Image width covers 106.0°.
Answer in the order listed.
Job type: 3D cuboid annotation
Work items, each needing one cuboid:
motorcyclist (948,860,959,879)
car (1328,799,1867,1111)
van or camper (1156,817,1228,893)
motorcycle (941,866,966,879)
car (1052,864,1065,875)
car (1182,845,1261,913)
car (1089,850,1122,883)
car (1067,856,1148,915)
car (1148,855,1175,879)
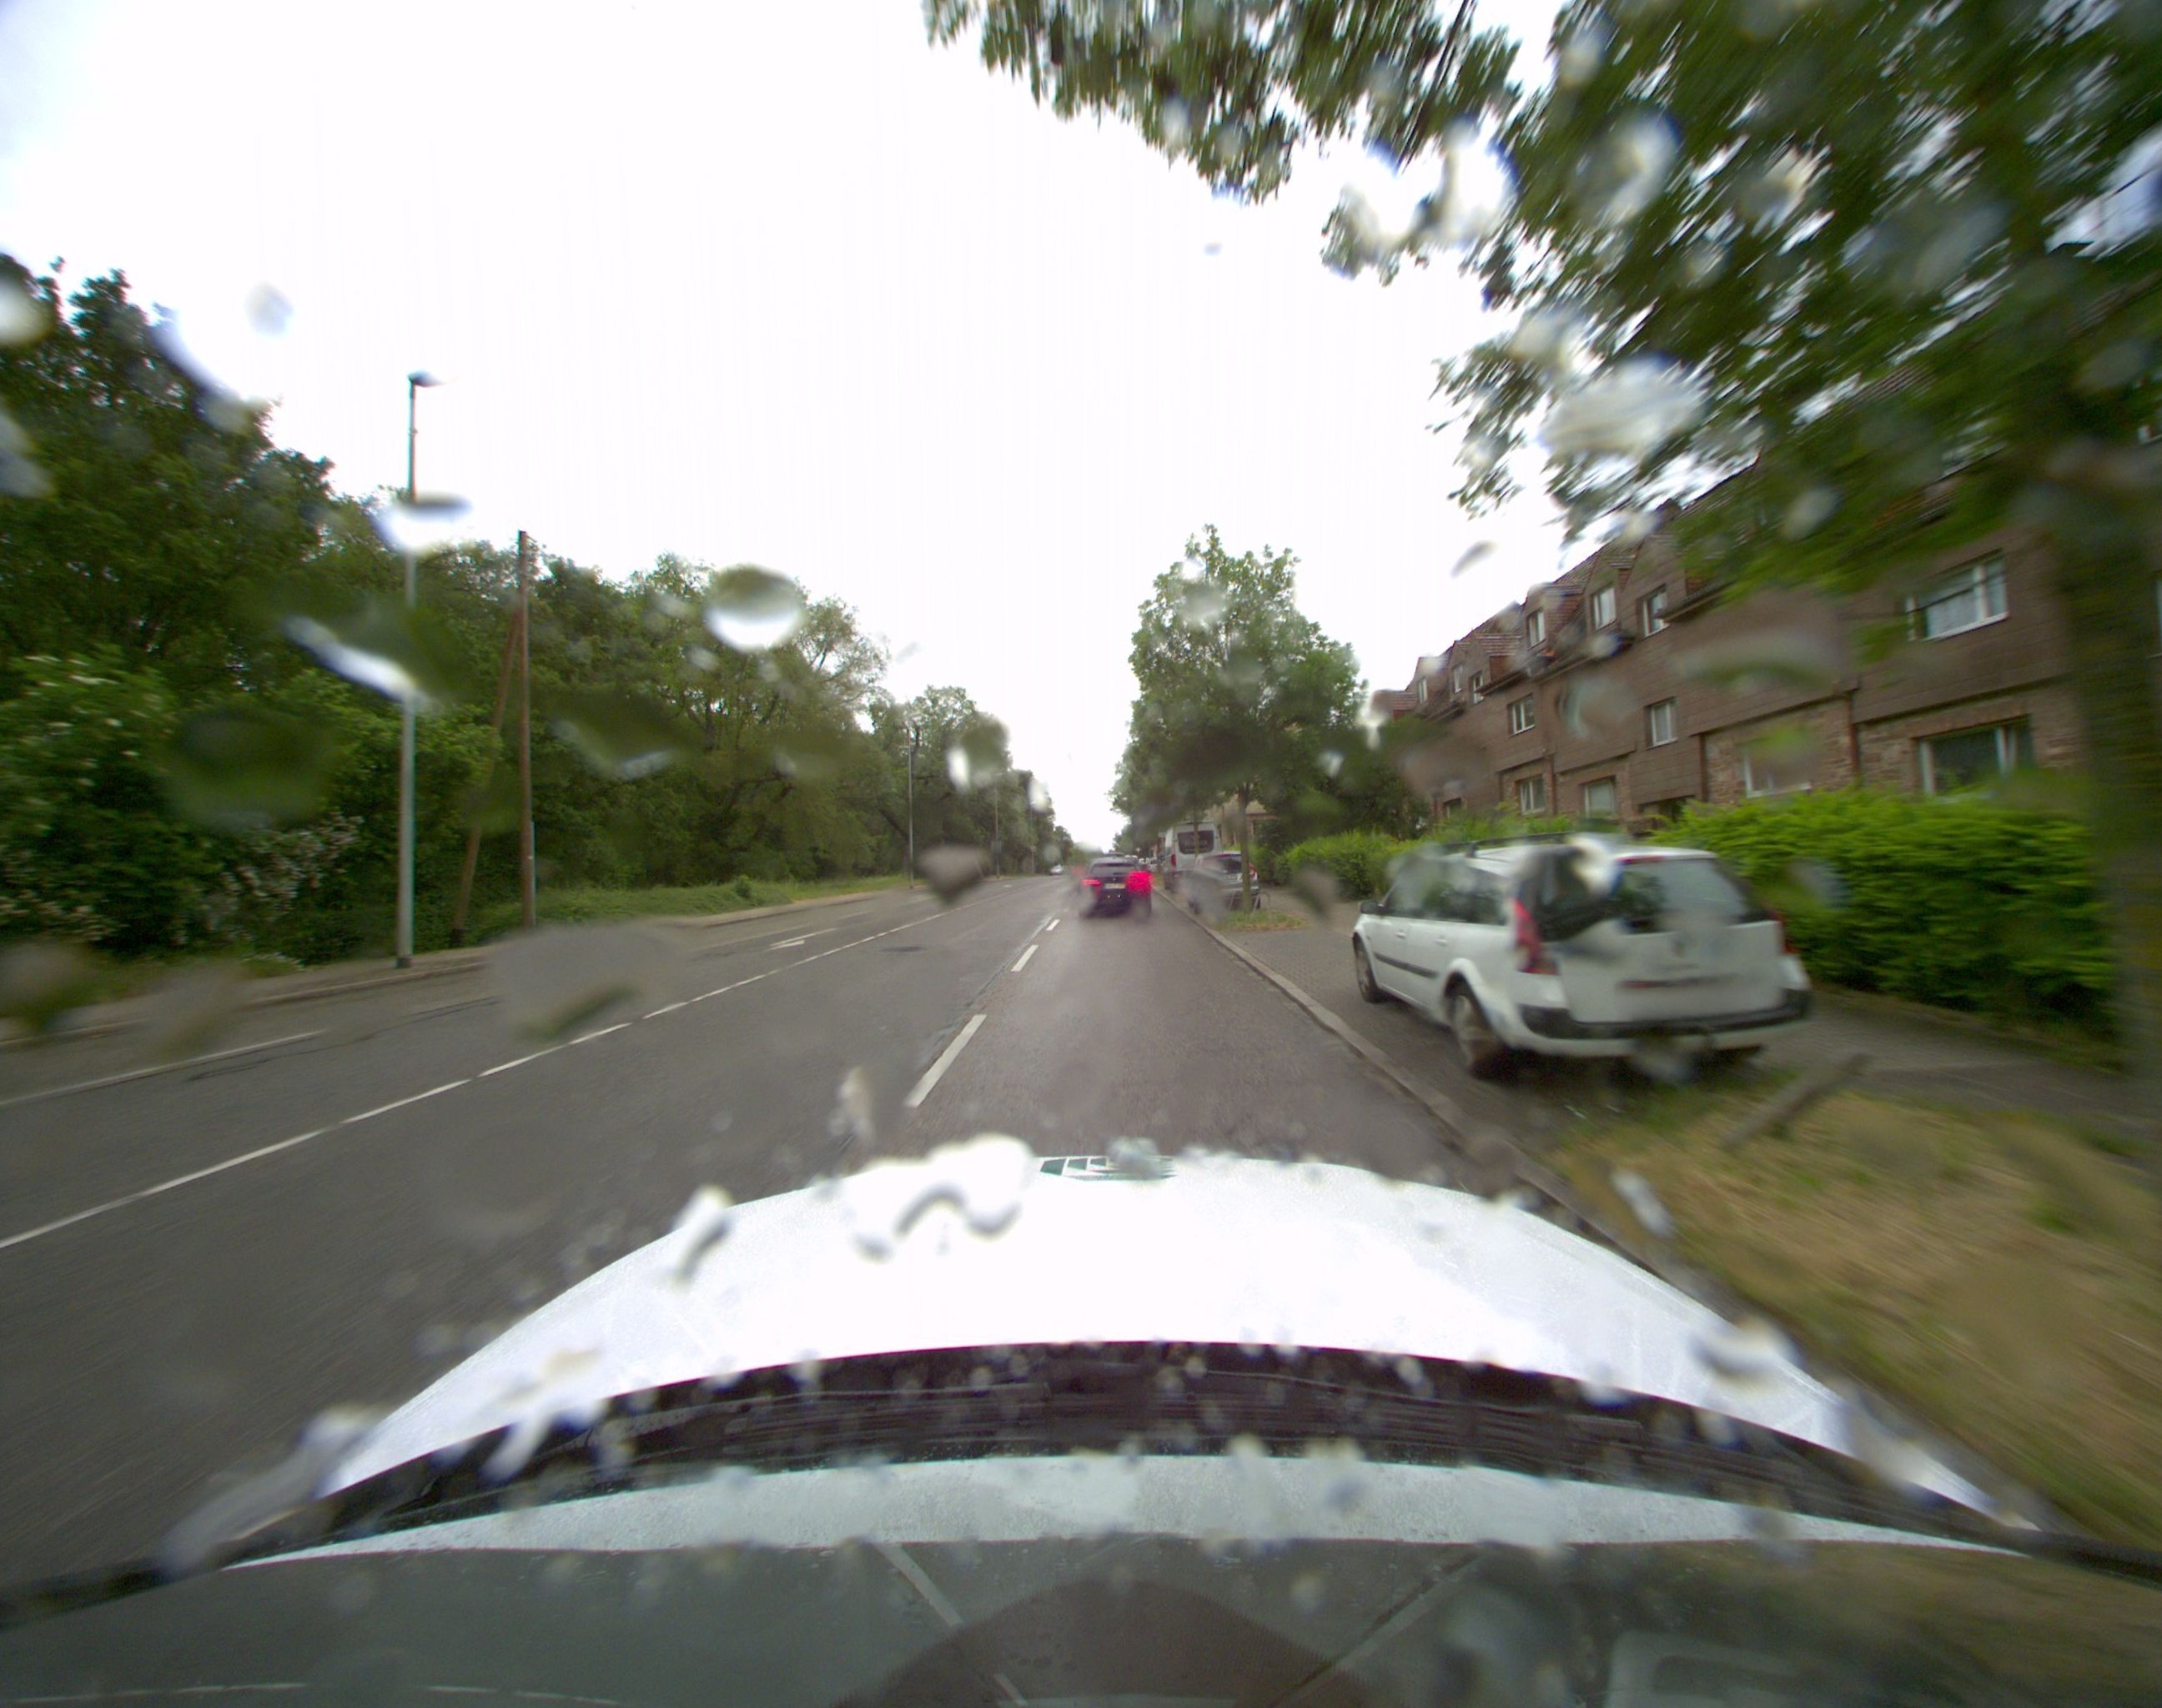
[{"bbox_3d":[-11.681,1.421,74.830,0.643,1.681,0.818,-1,0,23],"label":"motorcyclist"},{"bbox_3d":[3.471,0.553,6.673,1.815,1.602,4.480,-4,0,5],"label":"car"},{"bbox_3d":[4.420,0.029,33.517,2.188,2.651,7.307,-4,0,3],"label":"van or camper"},{"bbox_3d":[-11.749,1.715,74.866,2.163,1.118,0.828,-1,0,23],"label":"motorcycle"},{"bbox_3d":[-3.409,2.325,121.770,1.684,1.483,4.452,-4,-1,1],"label":"car"},{"bbox_3d":[3.664,0.623,21.856,1.661,1.528,3.837,-5,-1,5],"label":"car"},{"bbox_3d":[1.644,0.798,52.497,1.985,2.014,4.003,-1,-1,3],"label":"car"},{"bbox_3d":[0.712,0.801,22.184,1.986,1.453,4.001,1,-1,1],"label":"car"},{"bbox_3d":[6.032,0.957,61.484,1.694,1.584,4.647,-6,0,4],"label":"car"}]
